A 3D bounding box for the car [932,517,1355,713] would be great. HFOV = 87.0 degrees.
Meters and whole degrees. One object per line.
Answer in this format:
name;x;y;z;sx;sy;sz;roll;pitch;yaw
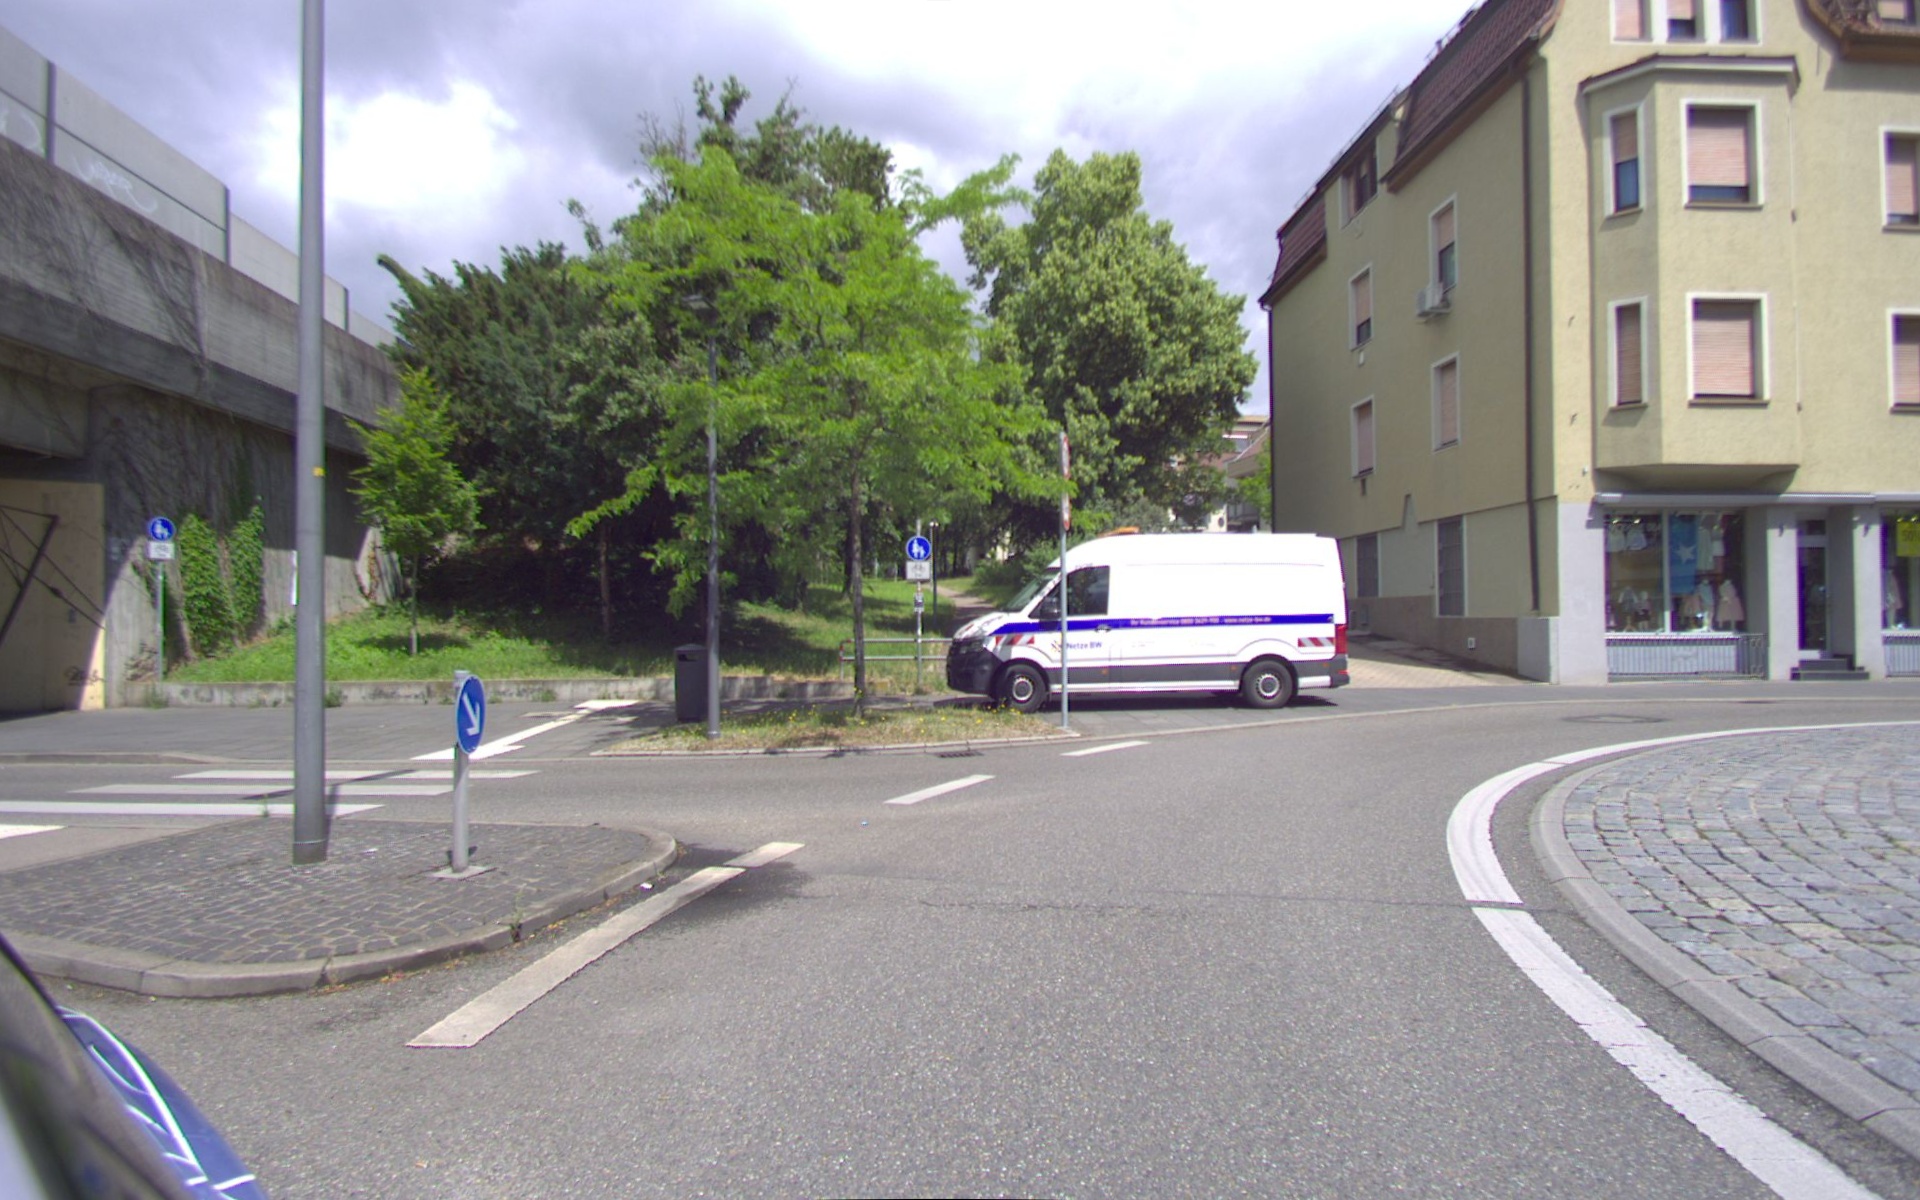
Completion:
car;2.580;0.185;15.128;5.841;2.626;1.976;-1;0;-4
